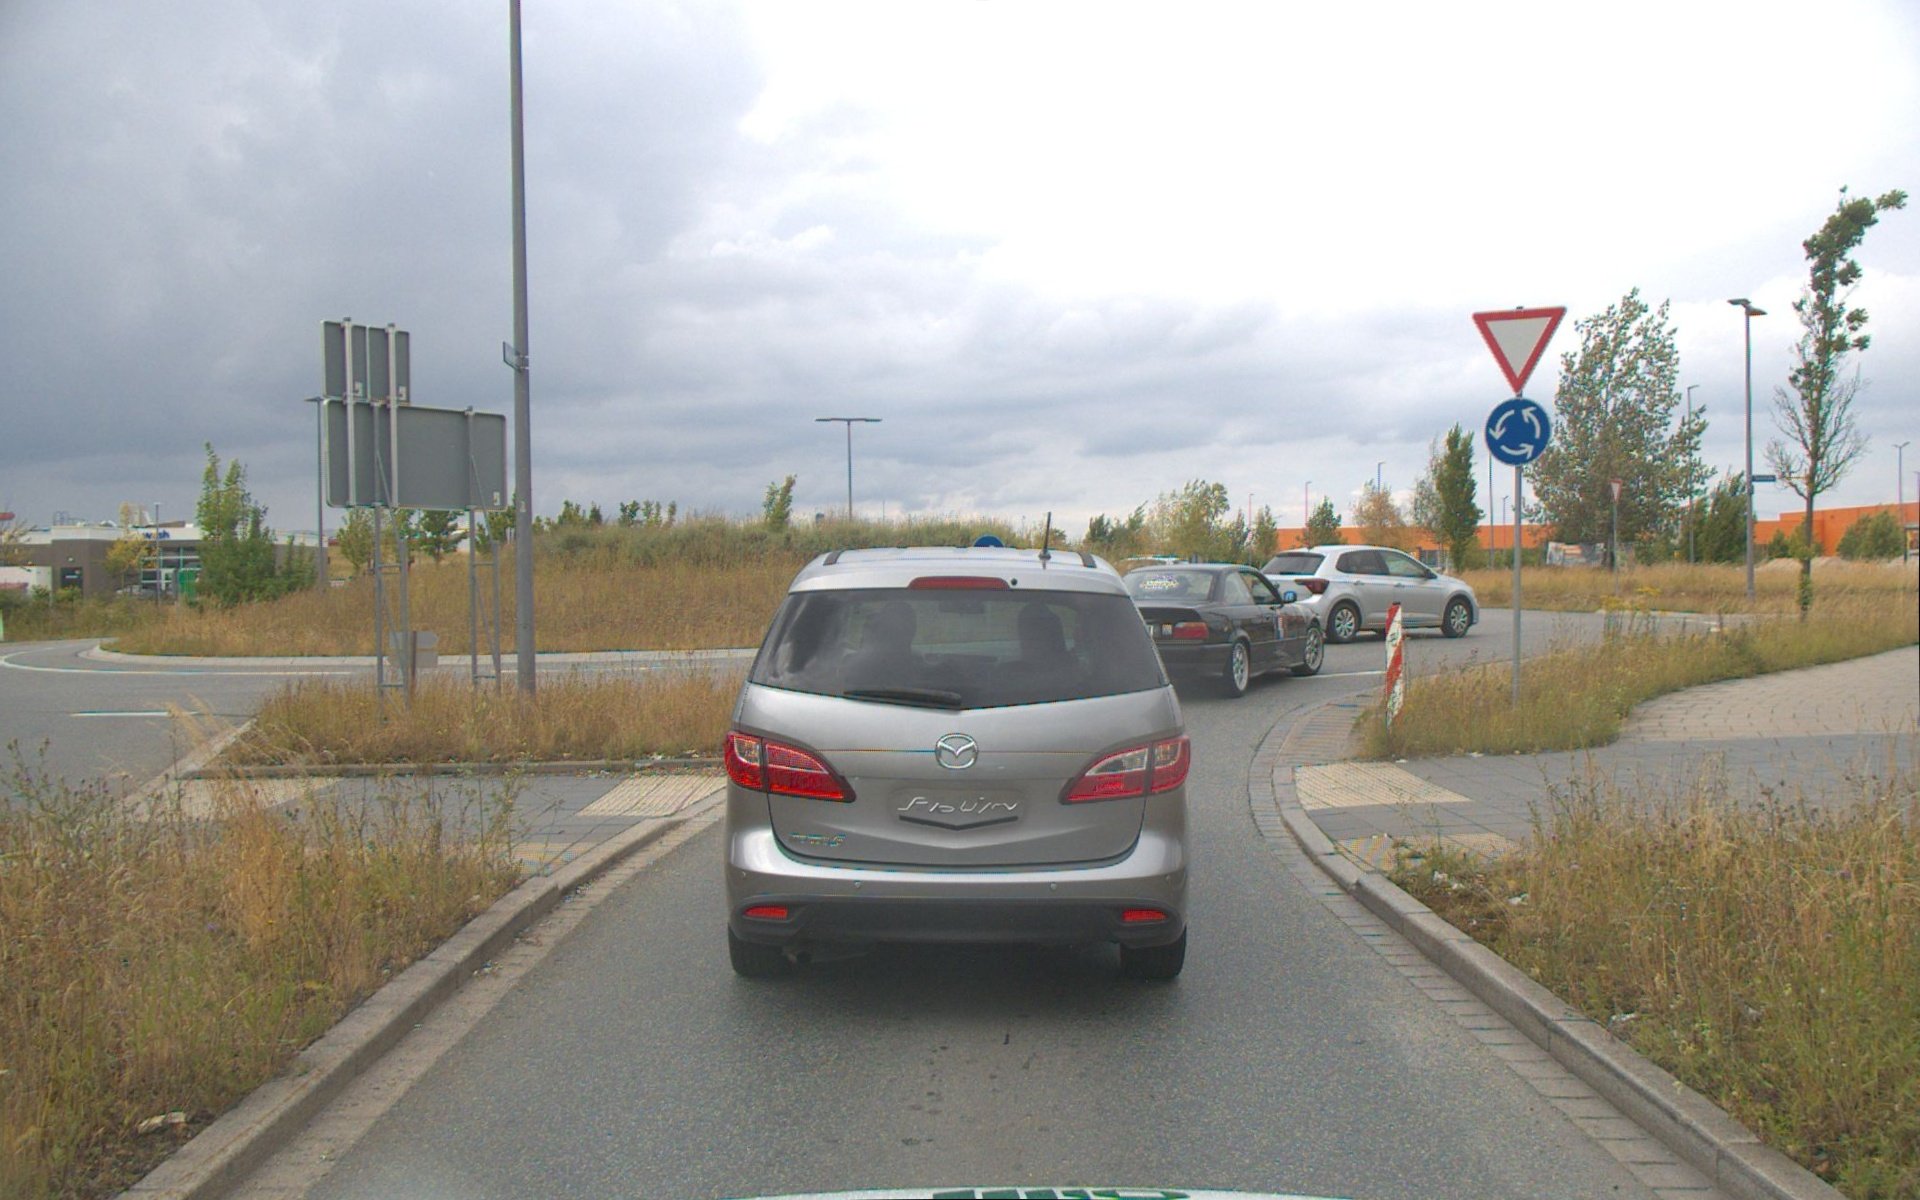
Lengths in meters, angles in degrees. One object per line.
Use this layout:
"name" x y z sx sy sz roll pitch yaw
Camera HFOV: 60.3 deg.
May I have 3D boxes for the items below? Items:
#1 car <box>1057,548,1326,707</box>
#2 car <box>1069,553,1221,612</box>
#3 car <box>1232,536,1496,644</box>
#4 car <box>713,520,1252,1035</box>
"car" 2.636 0.196 18.045 1.704 1.428 3.994 2 4 27
"car" 5.686 -0.543 50.872 4.249 1.677 1.866 0 3 33
"car" 6.362 -0.214 25.960 3.947 1.489 1.795 -2 4 -31
"car" 0.056 0.537 7.289 1.702 1.626 3.997 1 1 -1
